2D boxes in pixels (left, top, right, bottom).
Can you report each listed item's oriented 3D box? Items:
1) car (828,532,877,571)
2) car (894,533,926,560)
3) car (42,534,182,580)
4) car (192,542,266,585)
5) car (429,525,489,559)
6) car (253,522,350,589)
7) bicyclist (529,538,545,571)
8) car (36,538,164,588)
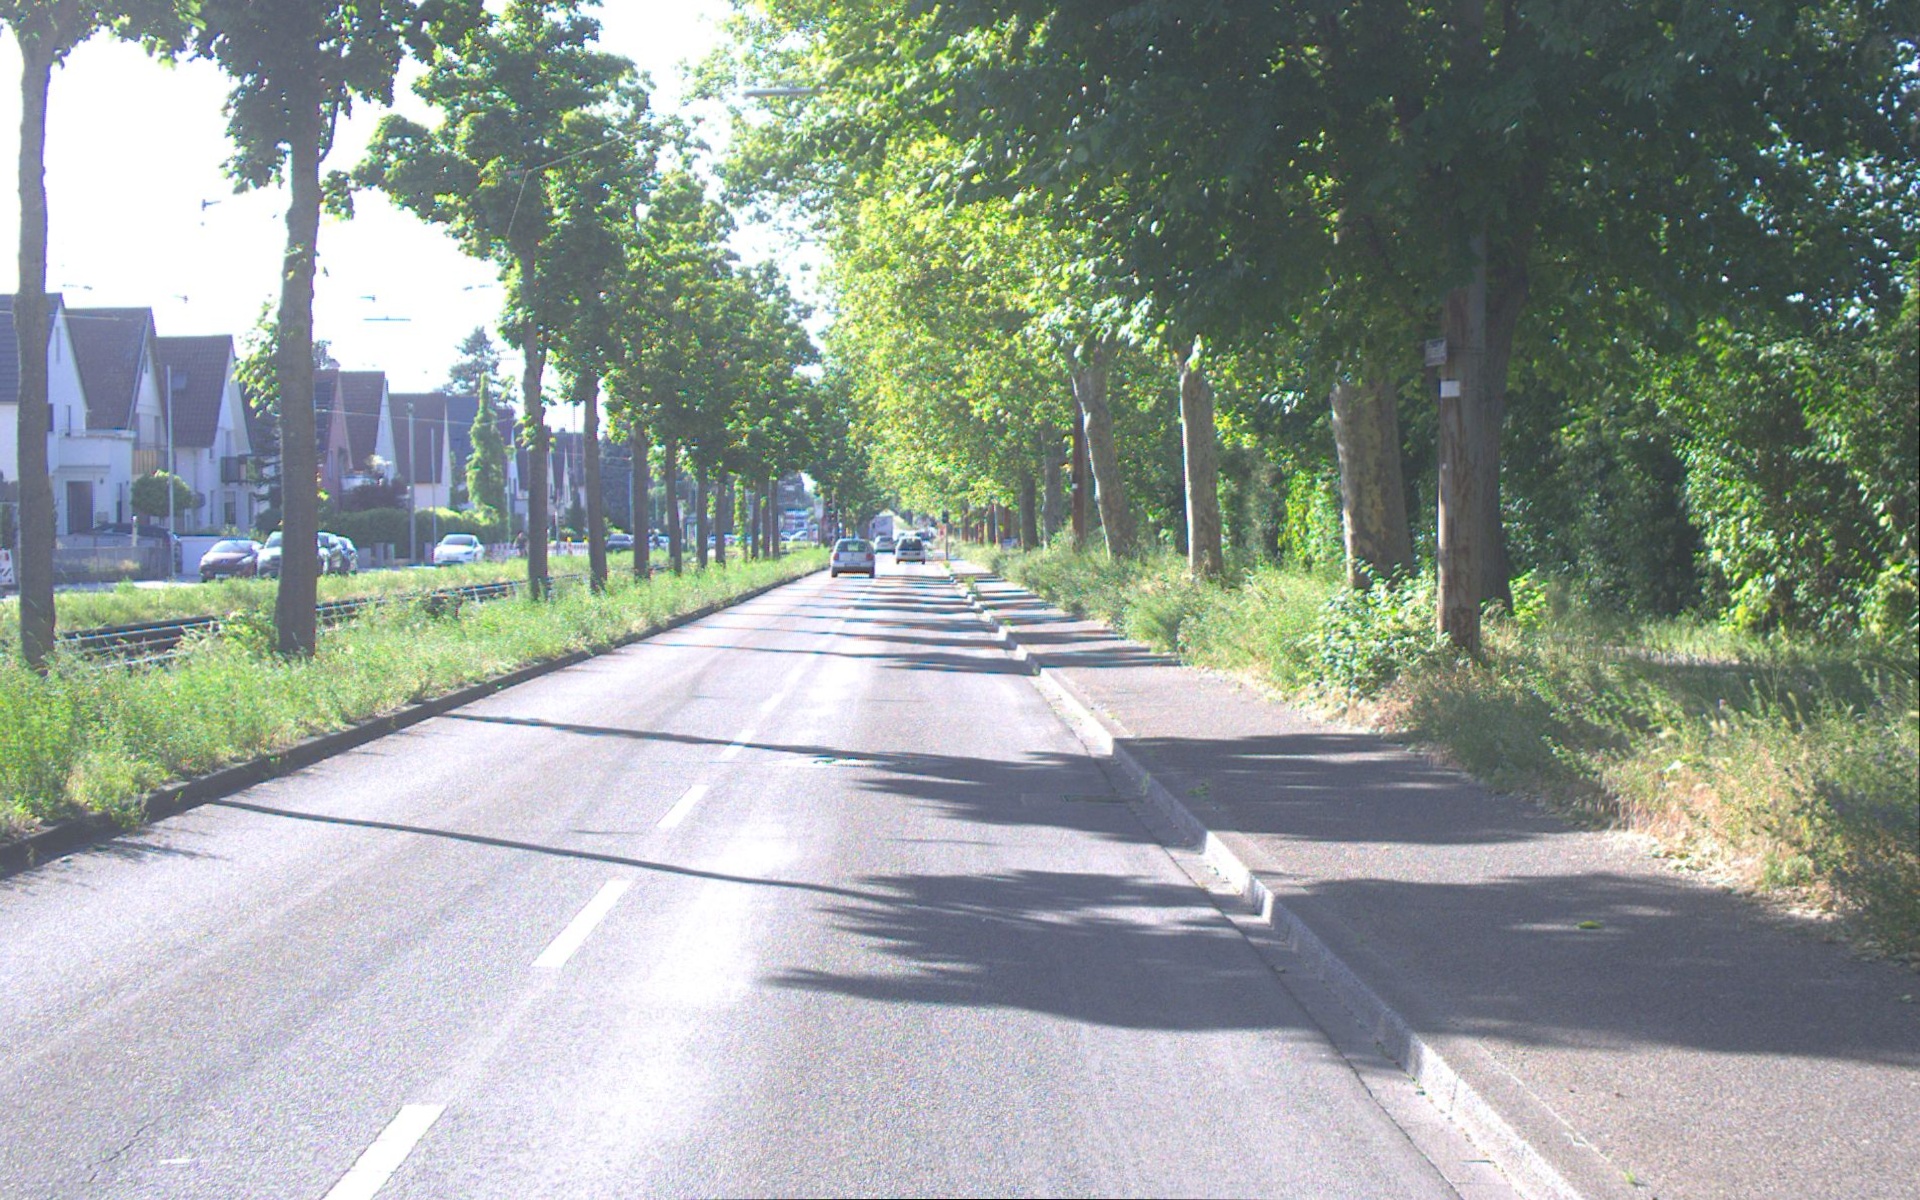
[{"bbox_3d":[-3.982,-1.784,127.597,1.738,1.396,3.277,1,1,-1],"label":"car"},{"bbox_3d":[-2.798,-2.997,192.667,1.761,1.508,3.277,1,1,0],"label":"car"},{"bbox_3d":[-28.038,-1.421,113.806,4.212,1.458,1.938,1,1,-4],"label":"car"},{"bbox_3d":[-23.492,-1.179,110.585,1.494,1.321,4.000,1,1,1],"label":"car"},{"bbox_3d":[-24.264,-2.796,166.702,1.994,1.593,4.731,1,1,3],"label":"car"},{"bbox_3d":[-19.341,-1.305,101.155,1.915,1.876,4.524,1,1,0],"label":"car"},{"bbox_3d":[-21.539,-2.327,175.214,0.688,1.646,0.881,1,1,-1],"label":"bicyclist"},{"bbox_3d":[-29.727,-1.276,118.920,3.986,1.664,2.000,1,1,-4],"label":"car"}]
